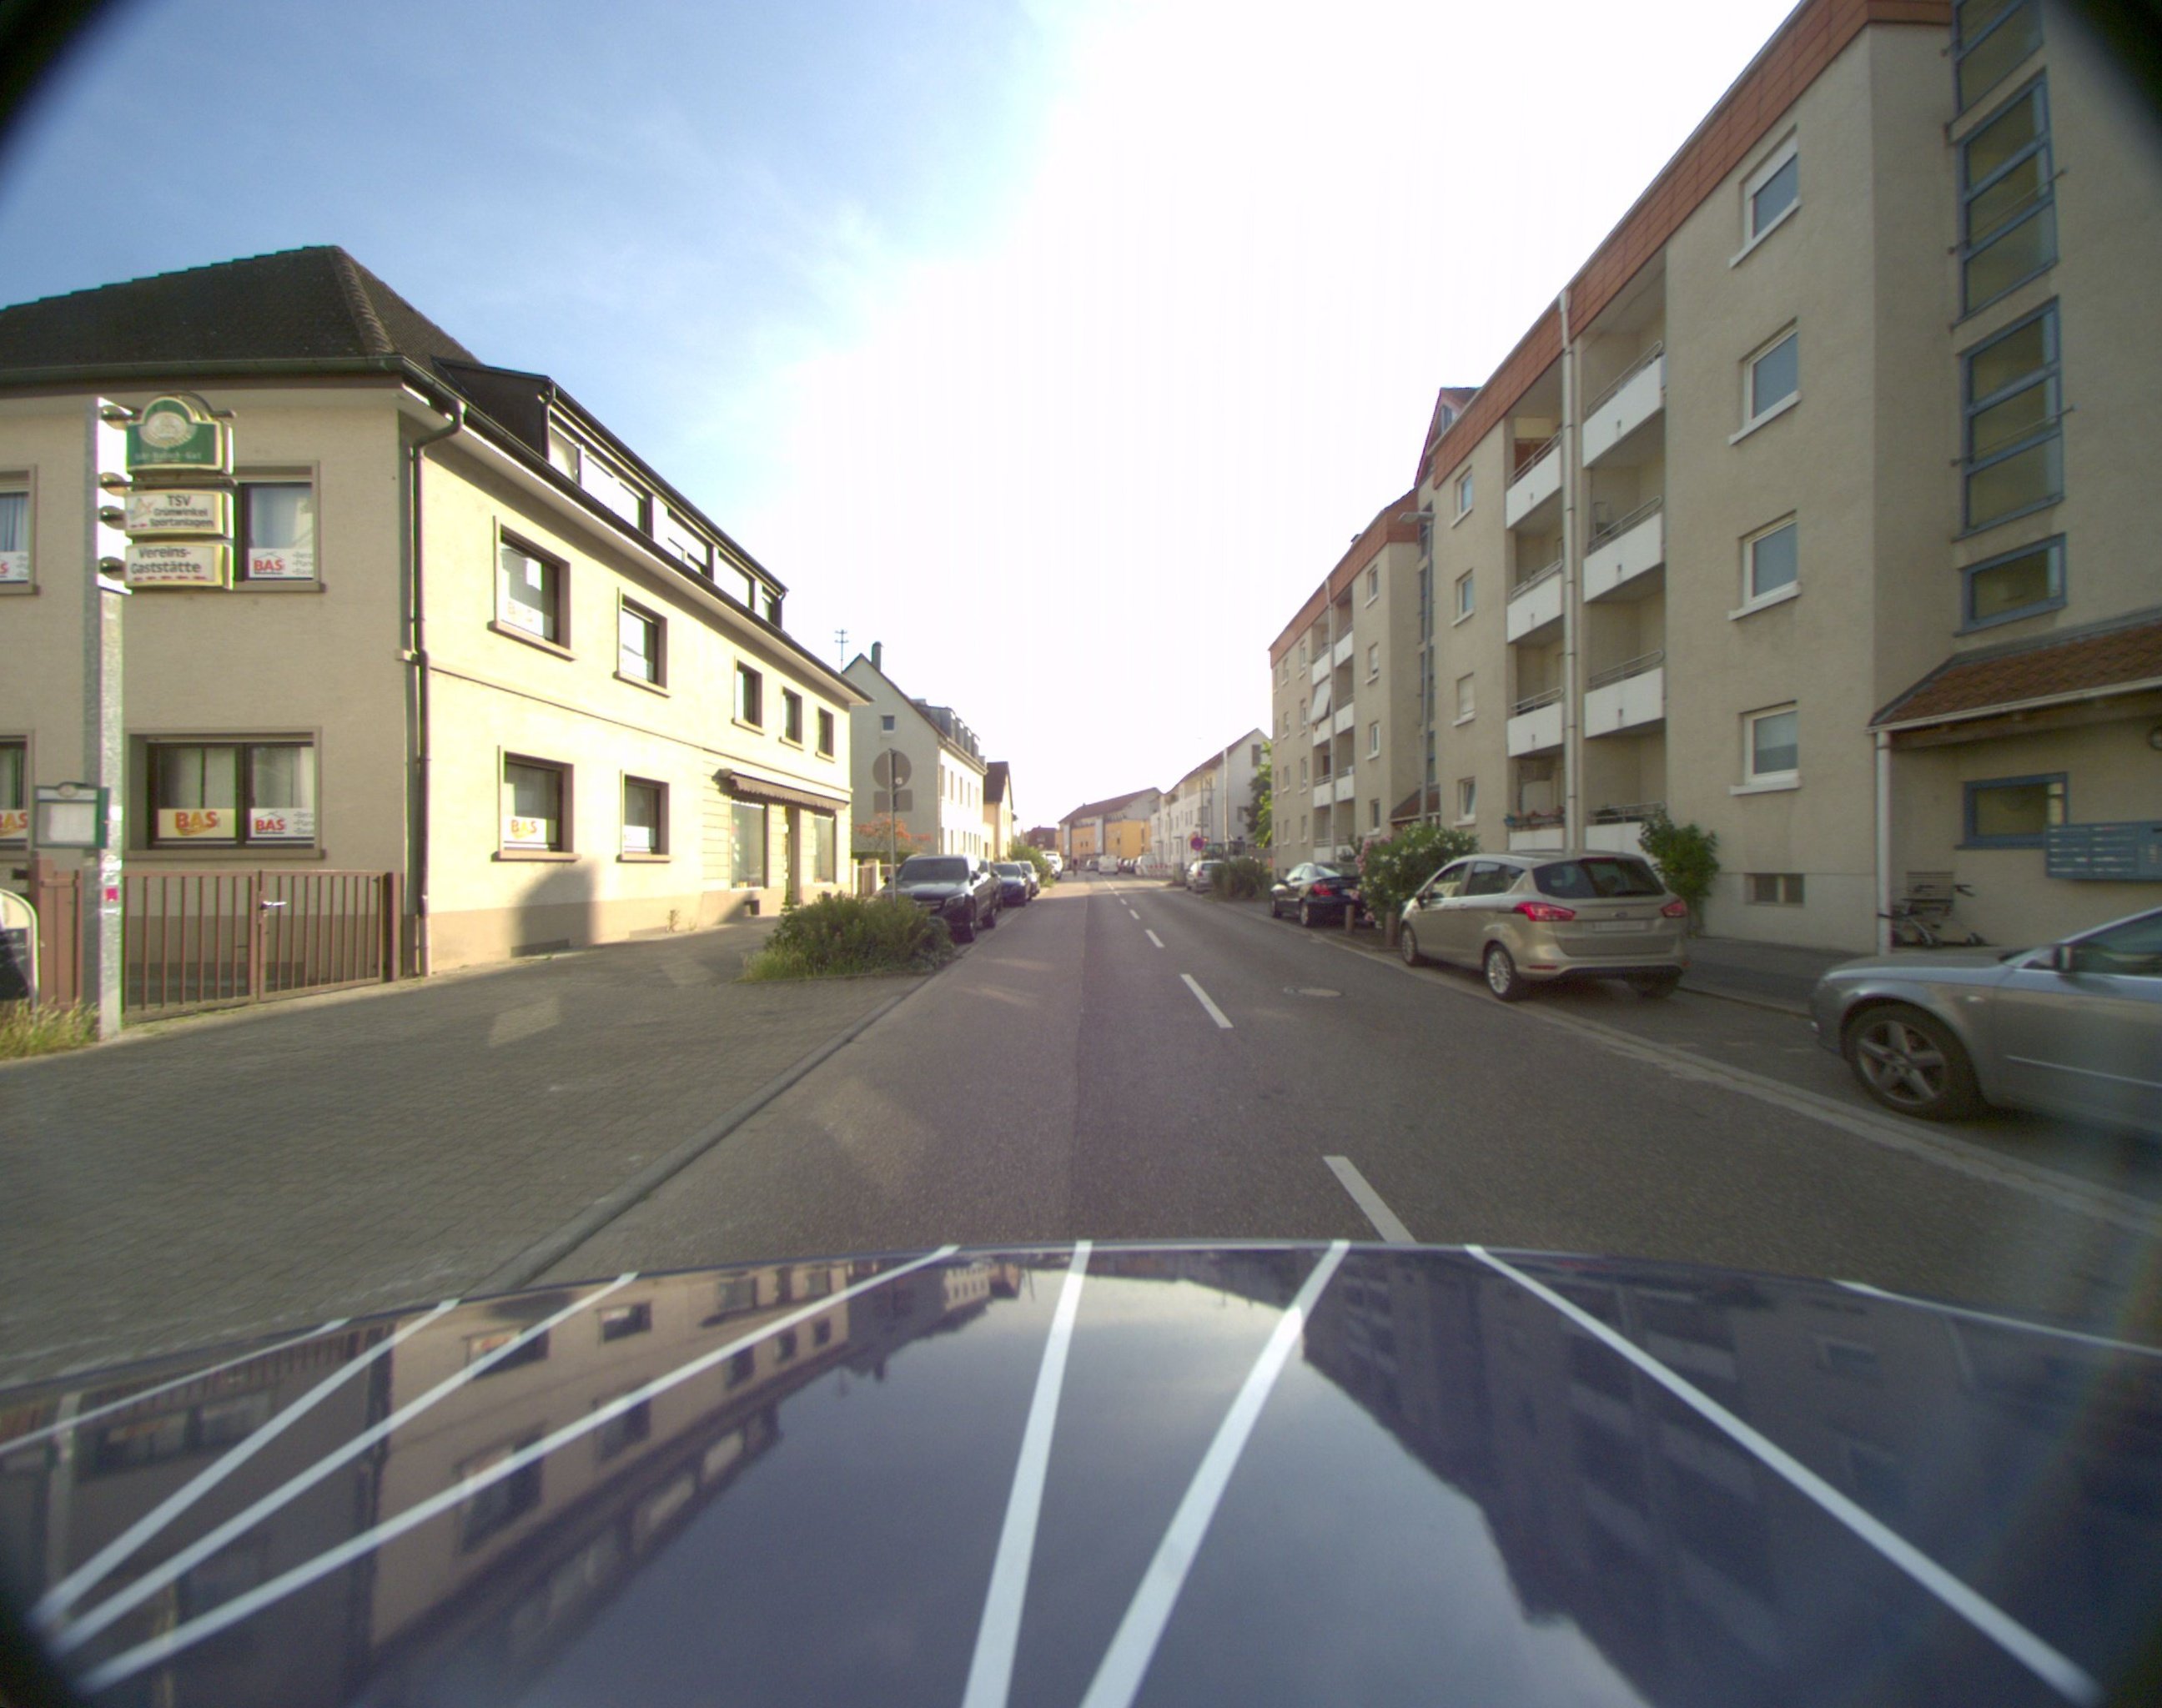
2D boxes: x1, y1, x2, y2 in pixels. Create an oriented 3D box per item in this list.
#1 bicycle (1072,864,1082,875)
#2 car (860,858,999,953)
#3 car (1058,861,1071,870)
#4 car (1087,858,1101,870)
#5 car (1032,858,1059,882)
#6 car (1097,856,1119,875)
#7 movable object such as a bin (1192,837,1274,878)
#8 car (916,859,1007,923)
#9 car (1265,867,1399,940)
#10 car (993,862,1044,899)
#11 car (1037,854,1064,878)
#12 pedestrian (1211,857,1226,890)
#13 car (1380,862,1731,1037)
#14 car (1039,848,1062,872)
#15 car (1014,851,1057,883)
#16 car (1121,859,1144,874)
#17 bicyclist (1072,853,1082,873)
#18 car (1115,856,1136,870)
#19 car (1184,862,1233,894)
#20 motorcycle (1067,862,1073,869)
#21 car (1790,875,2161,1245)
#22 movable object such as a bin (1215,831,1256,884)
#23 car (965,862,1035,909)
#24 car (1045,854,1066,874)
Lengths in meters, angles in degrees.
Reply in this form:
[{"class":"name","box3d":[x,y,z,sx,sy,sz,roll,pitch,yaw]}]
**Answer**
[{"class":"bicycle","box3d":[-0.343,1.335,65.161,0.680,0.849,2.026,0,0,-4]},{"class":"car","box3d":[-2.836,0.899,15.270,1.834,1.620,4.463,0,0,1]},{"class":"car","box3d":[-2.692,1.792,120.892,1.835,1.411,4.207,-1,0,-3]},{"class":"car","box3d":[1.632,1.195,94.373,1.622,1.446,3.685,0,0,-1]},{"class":"car","box3d":[-2.401,1.046,52.073,1.593,1.519,4.613,1,0,0]},{"class":"car","box3d":[2.577,1.049,73.540,1.927,1.756,4.338,1,0,0]},{"class":"movable object such as a bin","box3d":[11.257,0.275,56.424,5.516,2.883,2.110,-1,-1,-11]},{"class":"car","box3d":[-3.140,0.928,20.824,1.834,1.551,4.317,0,0,0]},{"class":"car","box3d":[5.587,1.032,17.450,1.690,1.397,4.084,-1,0,0]},{"class":"car","box3d":[-2.571,1.054,31.995,1.784,1.411,4.496,0,0,0]},{"class":"car","box3d":[-2.286,0.870,57.369,1.817,1.673,4.476,1,0,0]},{"class":"pedestrian","box3d":[7.738,1.087,42.730,0.720,1.808,0.745,-1,0,1]},{"class":"car","box3d":[5.191,0.914,9.050,1.731,1.546,3.965,-2,0,1]},{"class":"car","box3d":[-3.016,0.596,76.568,2.180,2.313,4.997,1,-1,-2]},{"class":"car","box3d":[-2.752,0.790,46.762,2.080,1.845,4.611,1,-1,3]},{"class":"car","box3d":[5.669,1.345,83.820,1.732,1.469,4.261,-2,0,-7]},{"class":"bicyclist","box3d":[-0.327,0.798,65.235,0.845,1.679,0.877,-1,0,-3]},{"class":"car","box3d":[5.208,1.067,89.680,1.732,1.612,4.261,0,0,-7]},{"class":"car","box3d":[5.931,1.090,35.742,1.644,1.387,3.671,-1,0,-1]},{"class":"motorcycle","box3d":[-2.045,2.154,139.329,0.584,1.175,1.875,-1,-1,-20]},{"class":"car","box3d":[5.517,0.898,2.750,1.812,1.512,4.370,-1,0,0]},{"class":"movable object such as a bin","box3d":[9.331,0.217,46.285,1.652,3.119,3.900,0,-1,-1]},{"class":"car","box3d":[-2.651,1.010,25.827,1.834,1.411,4.609,0,0,1]},{"class":"car","box3d":[-2.353,0.906,70.397,1.782,1.731,4.483,2,0,-1]}]
